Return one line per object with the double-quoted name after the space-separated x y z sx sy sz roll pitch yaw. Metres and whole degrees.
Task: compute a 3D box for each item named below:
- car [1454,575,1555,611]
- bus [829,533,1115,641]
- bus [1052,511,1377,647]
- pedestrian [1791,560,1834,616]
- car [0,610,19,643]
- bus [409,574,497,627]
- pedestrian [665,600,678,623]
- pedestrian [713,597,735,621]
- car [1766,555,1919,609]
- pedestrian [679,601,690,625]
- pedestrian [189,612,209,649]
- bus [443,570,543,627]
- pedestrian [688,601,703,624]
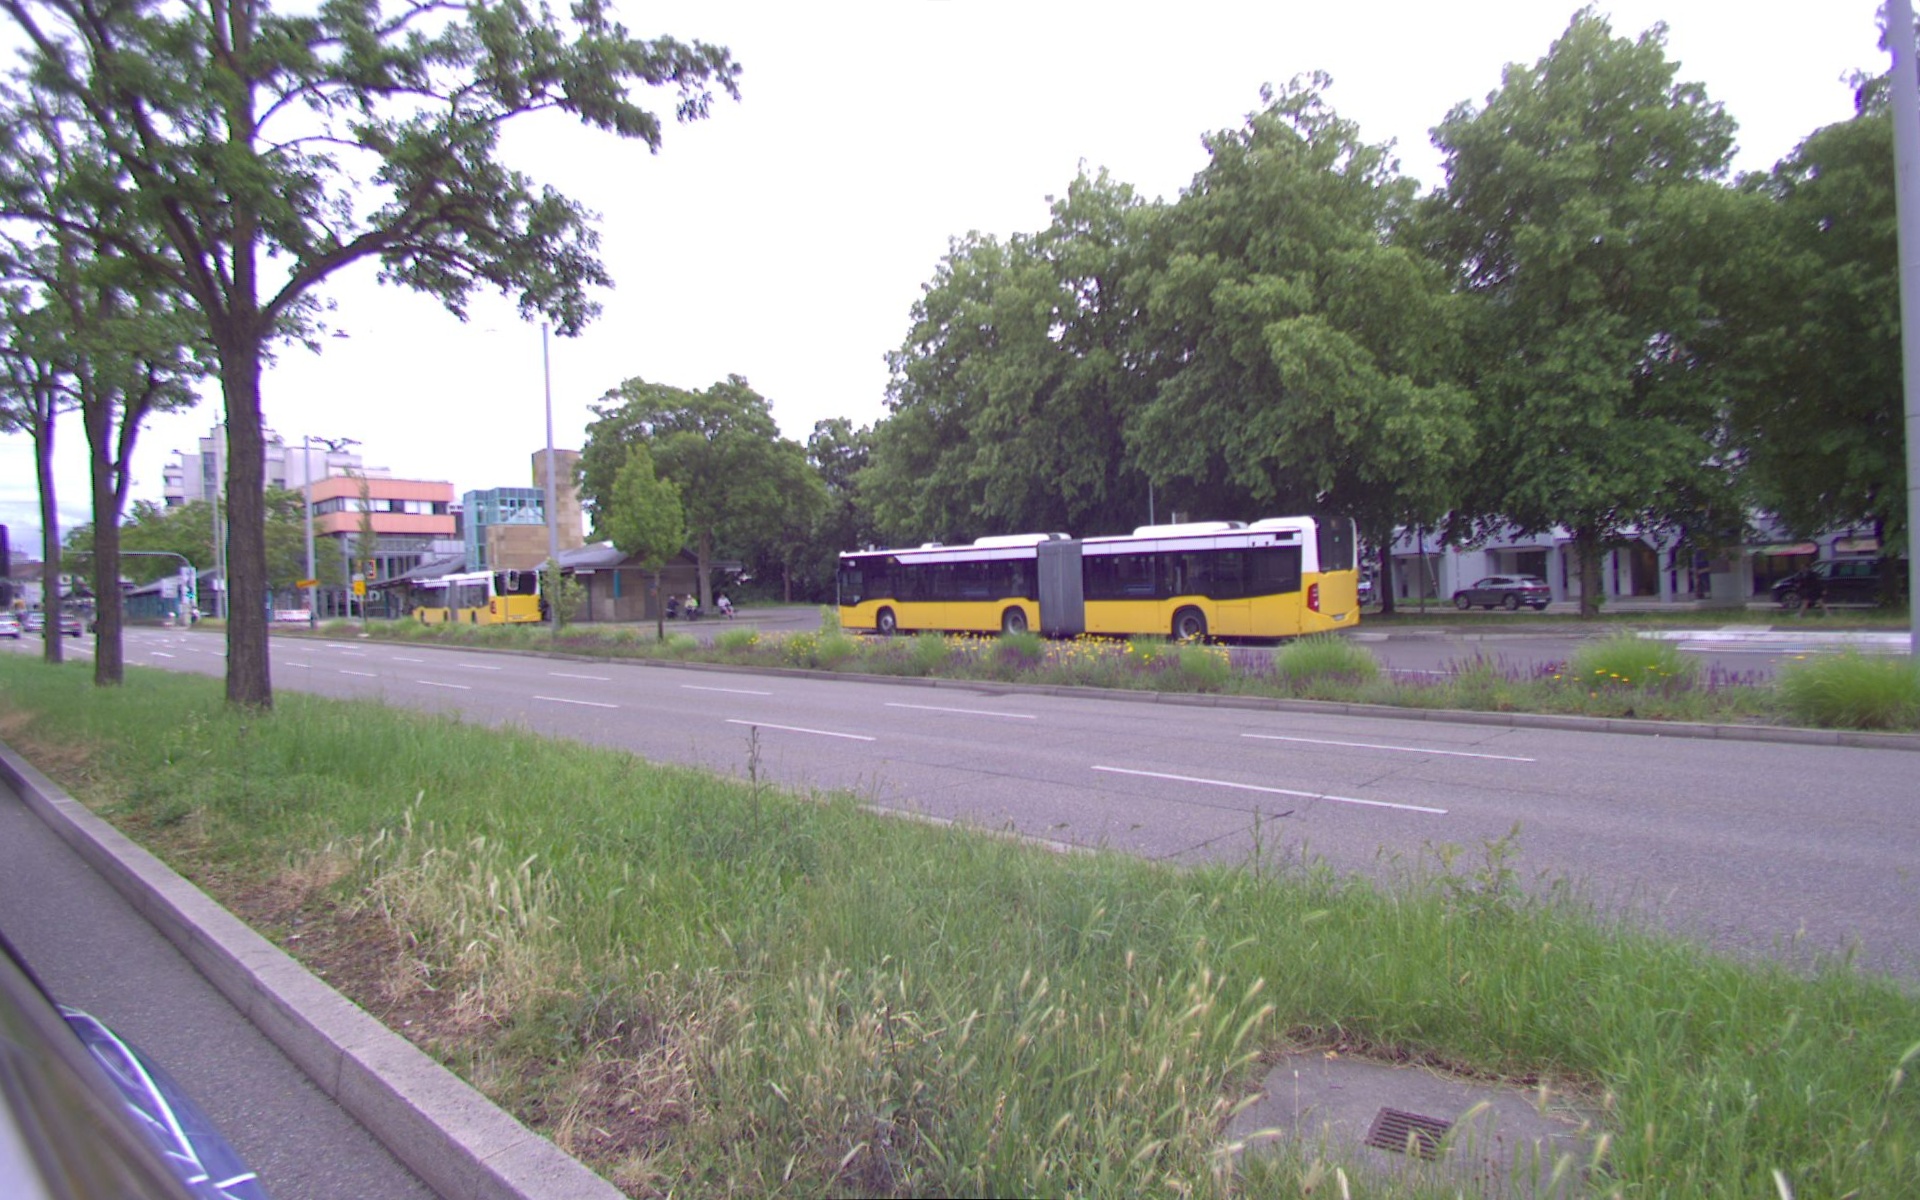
24.479 -0.292 45.680 1.730 1.524 4.011 -1 0 -14 "car"
0.003 -0.311 33.077 2.848 3.025 10.401 -1 0 -44 "bus"
6.350 -0.427 26.461 2.849 3.025 7.889 -1 0 -44 "bus"
24.358 -0.346 28.917 0.904 1.569 0.761 -2 0 41 "pedestrian"
-59.972 1.662 63.026 4.000 2.029 1.703 -1 0 43 "car"
-31.339 0.056 62.312 2.846 3.025 9.191 -1 0 -40 "bus"
-14.830 0.604 51.987 0.589 1.171 0.745 -1 0 -20 "pedestrian"
-11.905 0.467 51.114 0.924 1.180 0.641 -1 0 41 "pedestrian"
33.142 -0.638 37.790 1.758 1.861 4.429 -1 0 -35 "car"
-13.724 0.629 50.400 0.361 1.175 0.900 -1 0 -23 "pedestrian"
-58.199 2.318 77.423 1.129 2.809 0.905 -1 0 -42 "pedestrian"
-25.666 -0.026 55.315 2.845 2.830 9.193 -1 0 -38 "bus"
-13.217 0.622 50.529 0.589 1.171 0.745 -1 0 -23 "pedestrian"
